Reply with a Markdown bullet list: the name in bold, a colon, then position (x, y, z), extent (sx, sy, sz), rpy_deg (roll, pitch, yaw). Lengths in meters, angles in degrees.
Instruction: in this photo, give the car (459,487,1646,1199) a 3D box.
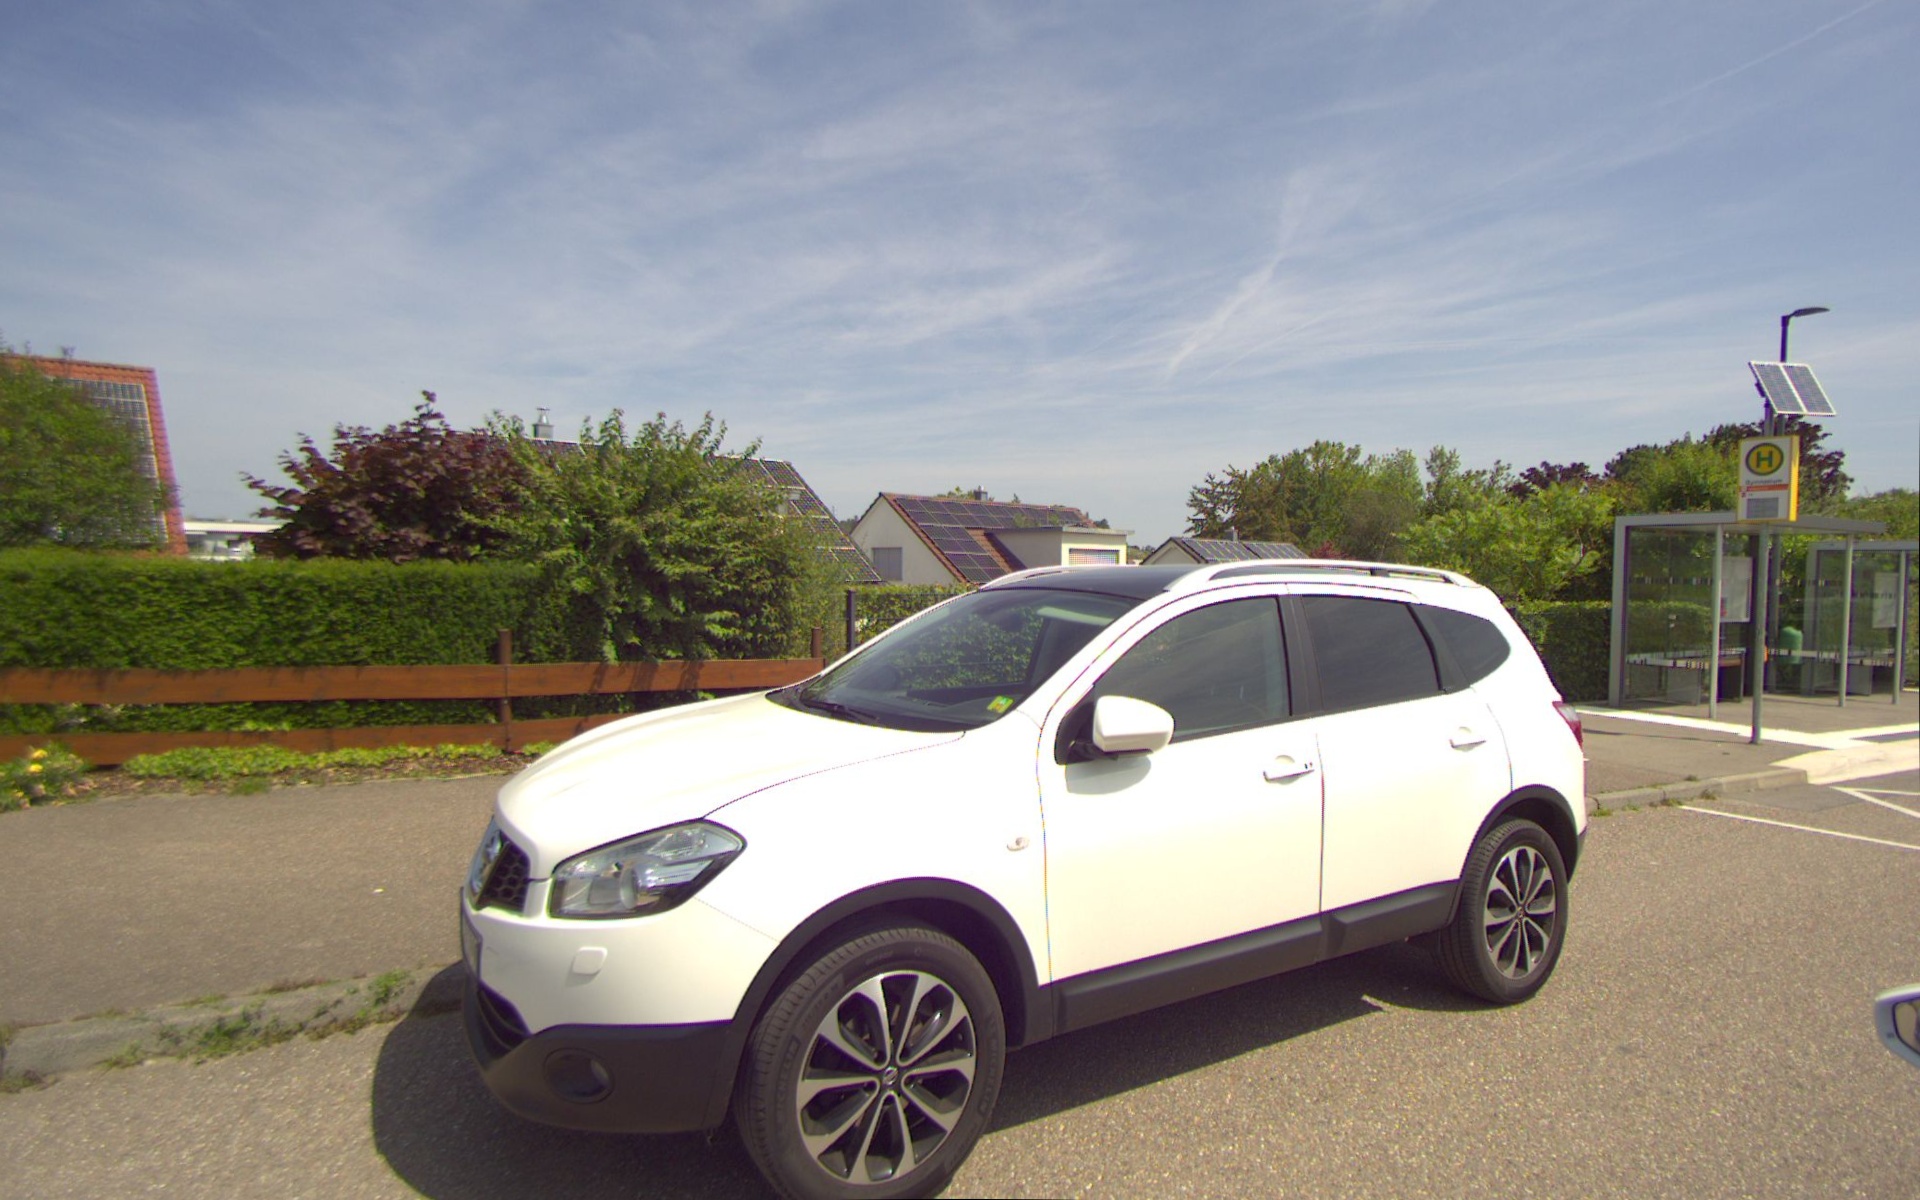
- **car**: position (0.579, 0.643, 3.803), extent (4.303, 1.655, 1.725), rpy_deg (1, 0, -32)
